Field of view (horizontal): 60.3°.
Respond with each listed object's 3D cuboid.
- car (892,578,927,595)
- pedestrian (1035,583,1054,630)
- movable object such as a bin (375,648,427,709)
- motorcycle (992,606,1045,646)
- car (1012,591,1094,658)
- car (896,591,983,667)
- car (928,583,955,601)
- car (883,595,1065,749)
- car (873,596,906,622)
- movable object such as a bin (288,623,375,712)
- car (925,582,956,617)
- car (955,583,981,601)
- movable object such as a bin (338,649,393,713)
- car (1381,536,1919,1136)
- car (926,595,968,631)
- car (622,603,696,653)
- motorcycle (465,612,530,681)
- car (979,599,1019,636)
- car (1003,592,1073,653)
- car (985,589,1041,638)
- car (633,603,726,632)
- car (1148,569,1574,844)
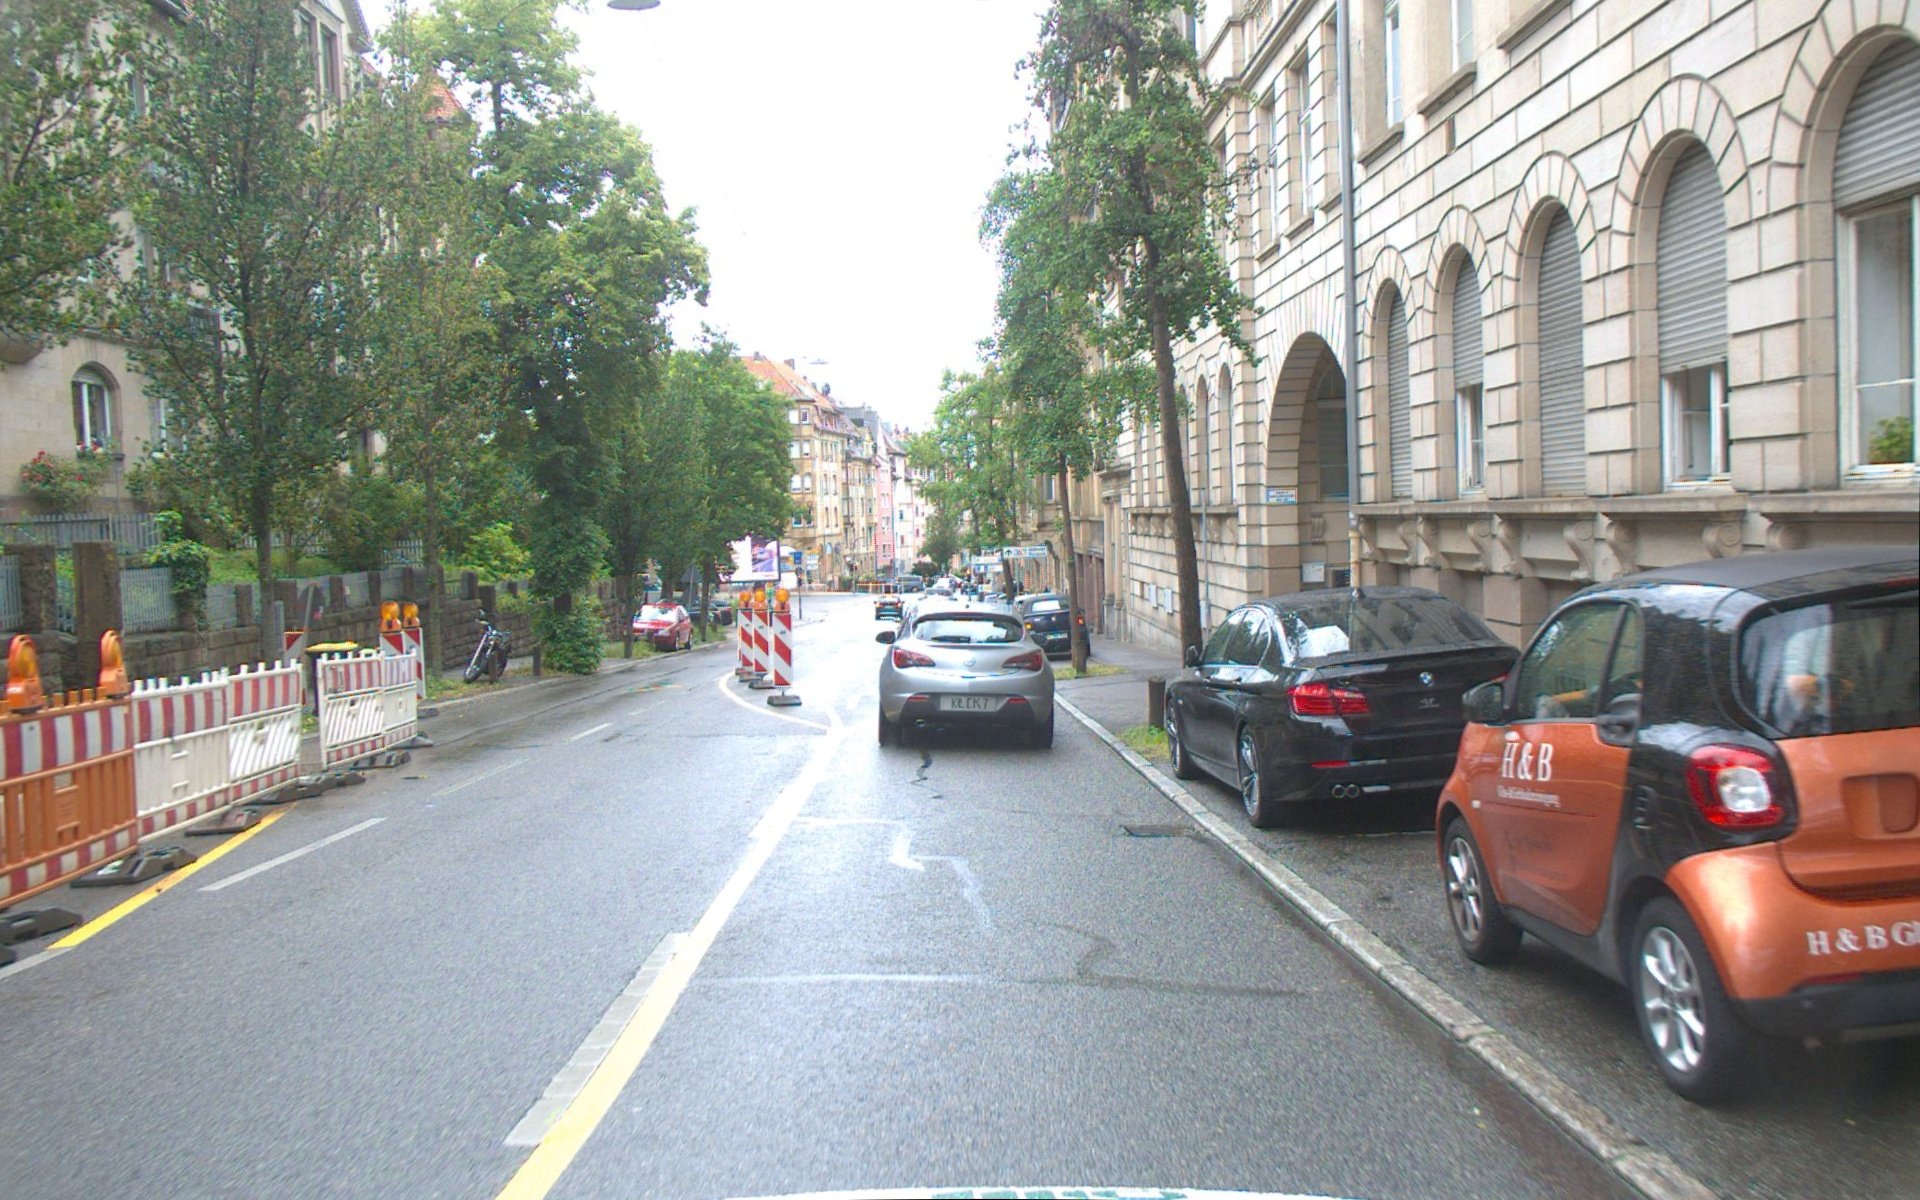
[{"bbox_3d":[-5.698,-1.517,187.194,3.906,1.780,1.999,2,0,-1],"label":"car"},{"bbox_3d":[3.462,0.259,67.598,0.701,1.903,0.635,1,-1,-1],"label":"pedestrian"},{"bbox_3d":[-8.889,1.242,26.305,0.591,0.923,0.624,1,0,0],"label":"movable object such as a bin"},{"bbox_3d":[1.847,0.826,52.246,0.645,1.257,1.973,0,-1,38],"label":"motorcycle"},{"bbox_3d":[2.126,0.538,38.687,1.604,1.454,3.375,-2,0,-2],"label":"car"},{"bbox_3d":[-0.494,0.586,35.812,1.737,1.531,3.867,0,1,-3],"label":"car"},{"bbox_3d":[-1.805,-0.763,164.236,1.951,1.713,4.003,1,0,9],"label":"car"},{"bbox_3d":[0.073,0.700,18.100,1.775,1.475,3.868,0,1,-2],"label":"car"},{"bbox_3d":[-4.436,0.563,105.034,1.953,1.527,3.999,-1,0,-1],"label":"car"},{"bbox_3d":[-9.079,0.969,23.925,0.925,1.235,0.856,1,0,0],"label":"movable object such as a bin"},{"bbox_3d":[-1.043,-0.024,89.686,1.623,1.813,3.665,0,0,-1],"label":"car"},{"bbox_3d":[0.775,-0.758,160.022,1.951,1.713,4.003,1,0,9],"label":"car"},{"bbox_3d":[-8.934,1.212,24.880,0.591,0.923,0.624,1,0,0],"label":"movable object such as a bin"},{"bbox_3d":[2.833,0.590,6.027,1.606,1.546,3.182,-4,0,-2],"label":"car"},{"bbox_3d":[-0.636,0.609,77.726,1.625,1.570,3.661,-3,0,-5],"label":"car"},{"bbox_3d":[-9.493,0.855,52.466,1.604,1.464,4.079,-2,0,-1],"label":"car"},{"bbox_3d":[-9.518,0.940,34.120,0.750,1.369,2.202,1,-1,-1],"label":"motorcycle"},{"bbox_3d":[1.718,0.754,73.389,1.604,1.551,3.857,-2,0,-1],"label":"car"},{"bbox_3d":[2.018,0.560,43.617,1.604,1.494,3.857,-2,0,-1],"label":"car"},{"bbox_3d":[1.853,0.442,58.631,1.605,1.630,3.855,-2,0,-3],"label":"car"},{"bbox_3d":[-13.735,0.856,81.040,4.246,1.265,1.633,-2,0,-20],"label":"car"},{"bbox_3d":[2.626,0.612,12.059,1.722,1.486,4.722,-4,0,-2],"label":"car"}]
